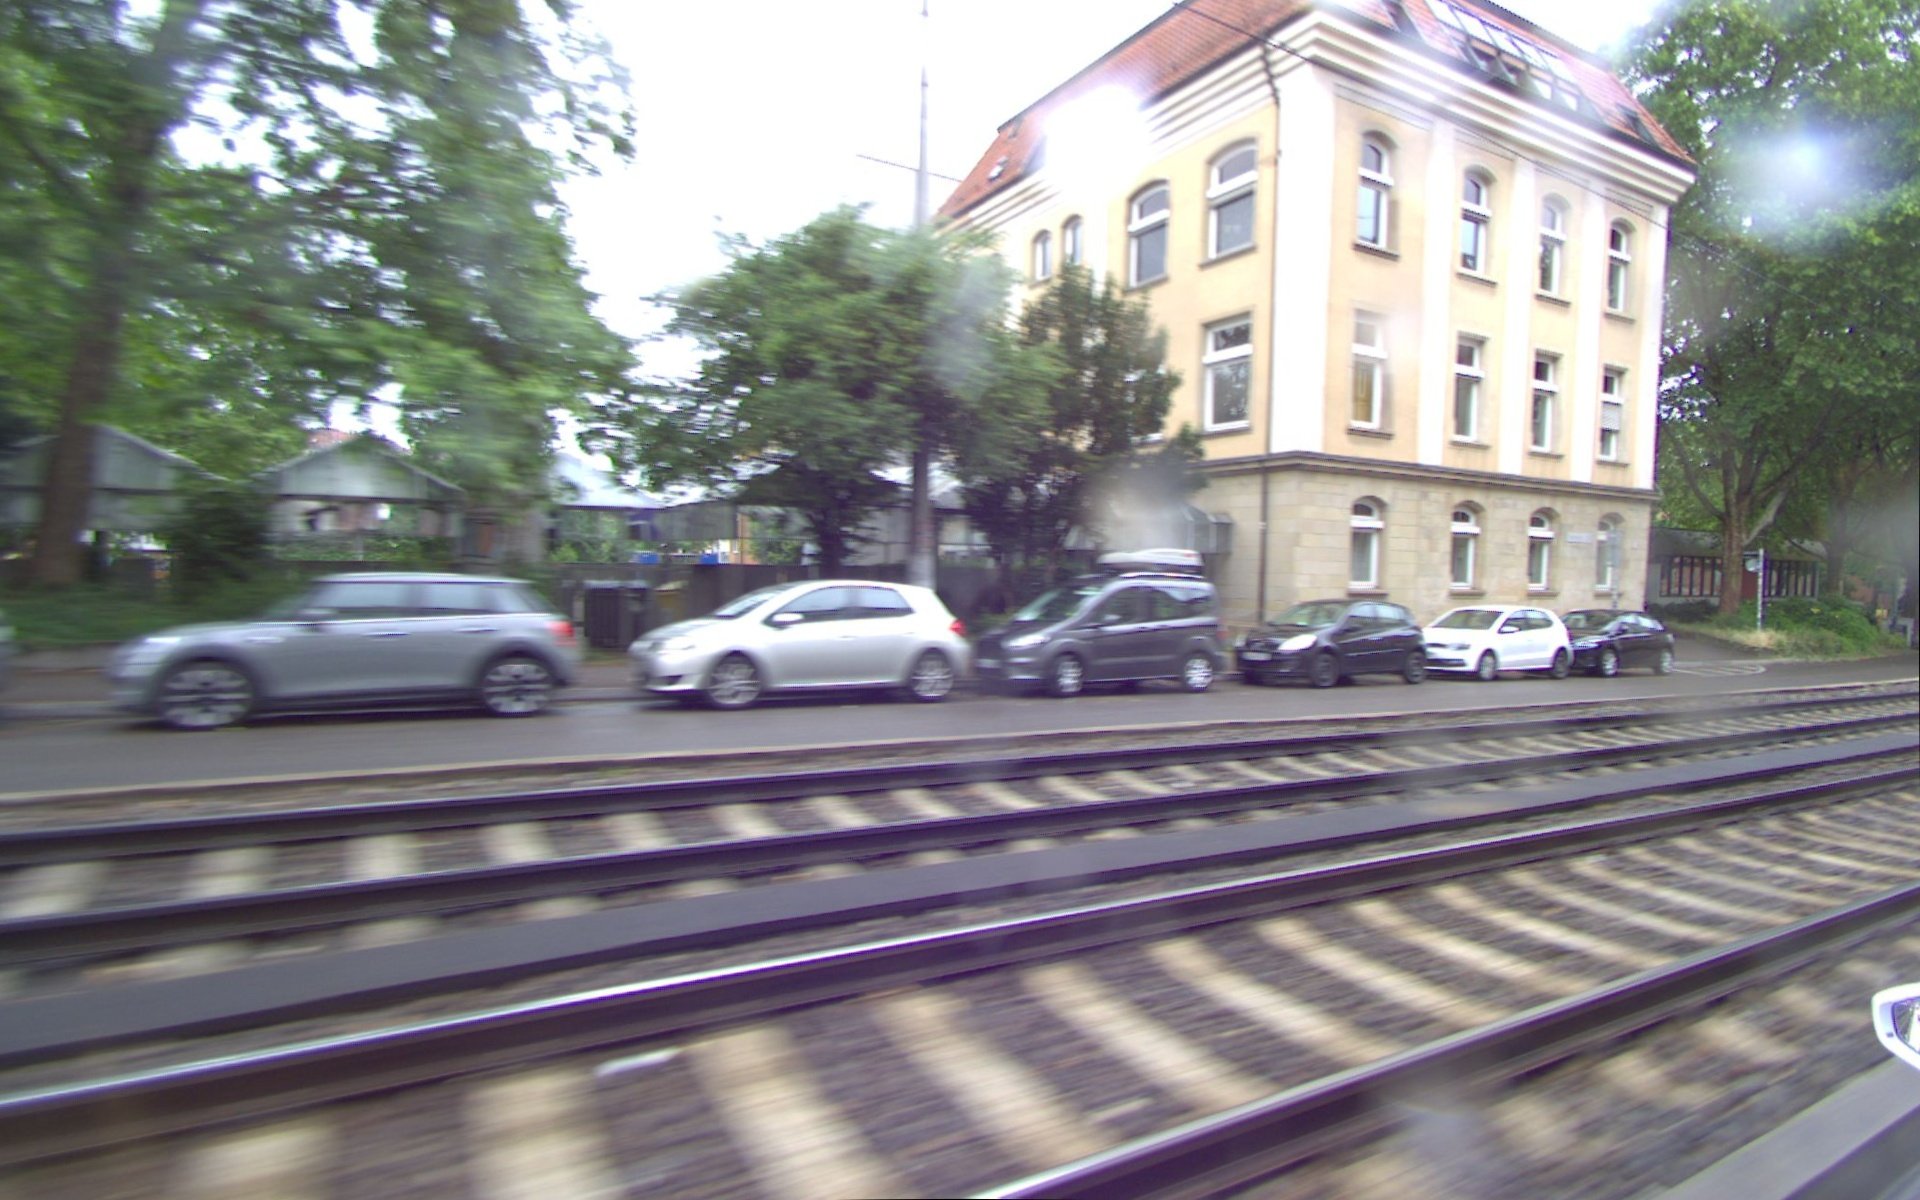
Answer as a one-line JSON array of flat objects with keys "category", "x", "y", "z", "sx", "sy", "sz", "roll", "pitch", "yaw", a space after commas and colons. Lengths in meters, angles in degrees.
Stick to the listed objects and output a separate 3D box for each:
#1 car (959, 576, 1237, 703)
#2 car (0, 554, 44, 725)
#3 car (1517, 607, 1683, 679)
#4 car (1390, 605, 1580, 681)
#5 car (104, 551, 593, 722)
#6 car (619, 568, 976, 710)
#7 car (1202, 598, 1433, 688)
[{"category": "car", "x": 2.101, "y": 0.576, "z": 14.915, "sx": 4.026, "sy": 1.665, "sz": 1.568, "roll": 2, "pitch": -1, "yaw": -32}, {"category": "car", "x": -9.993, "y": 0.288, "z": 7.673, "sx": 4.107, "sy": 1.432, "sz": 1.745, "roll": 2, "pitch": -1, "yaw": -32}, {"category": "car", "x": 14.317, "y": 0.929, "z": 22.425, "sx": 3.808, "sy": 1.448, "sz": 1.606, "roll": 1, "pitch": 0, "yaw": -31}, {"category": "car", "x": 10.557, "y": 0.856, "z": 20.145, "sx": 3.939, "sy": 1.409, "sz": 1.493, "roll": 2, "pitch": -1, "yaw": -30}, {"category": "car", "x": -5.907, "y": 0.365, "z": 10.134, "sx": 3.908, "sy": 1.432, "sz": 1.531, "roll": 2, "pitch": -1, "yaw": -32}, {"category": "car", "x": -1.944, "y": 0.478, "z": 12.474, "sx": 4.108, "sy": 1.525, "sz": 1.531, "roll": 2, "pitch": -1, "yaw": -32}, {"category": "car", "x": 6.328, "y": 0.745, "z": 17.686, "sx": 3.962, "sy": 1.432, "sz": 1.667, "roll": 2, "pitch": -1, "yaw": -30}]
